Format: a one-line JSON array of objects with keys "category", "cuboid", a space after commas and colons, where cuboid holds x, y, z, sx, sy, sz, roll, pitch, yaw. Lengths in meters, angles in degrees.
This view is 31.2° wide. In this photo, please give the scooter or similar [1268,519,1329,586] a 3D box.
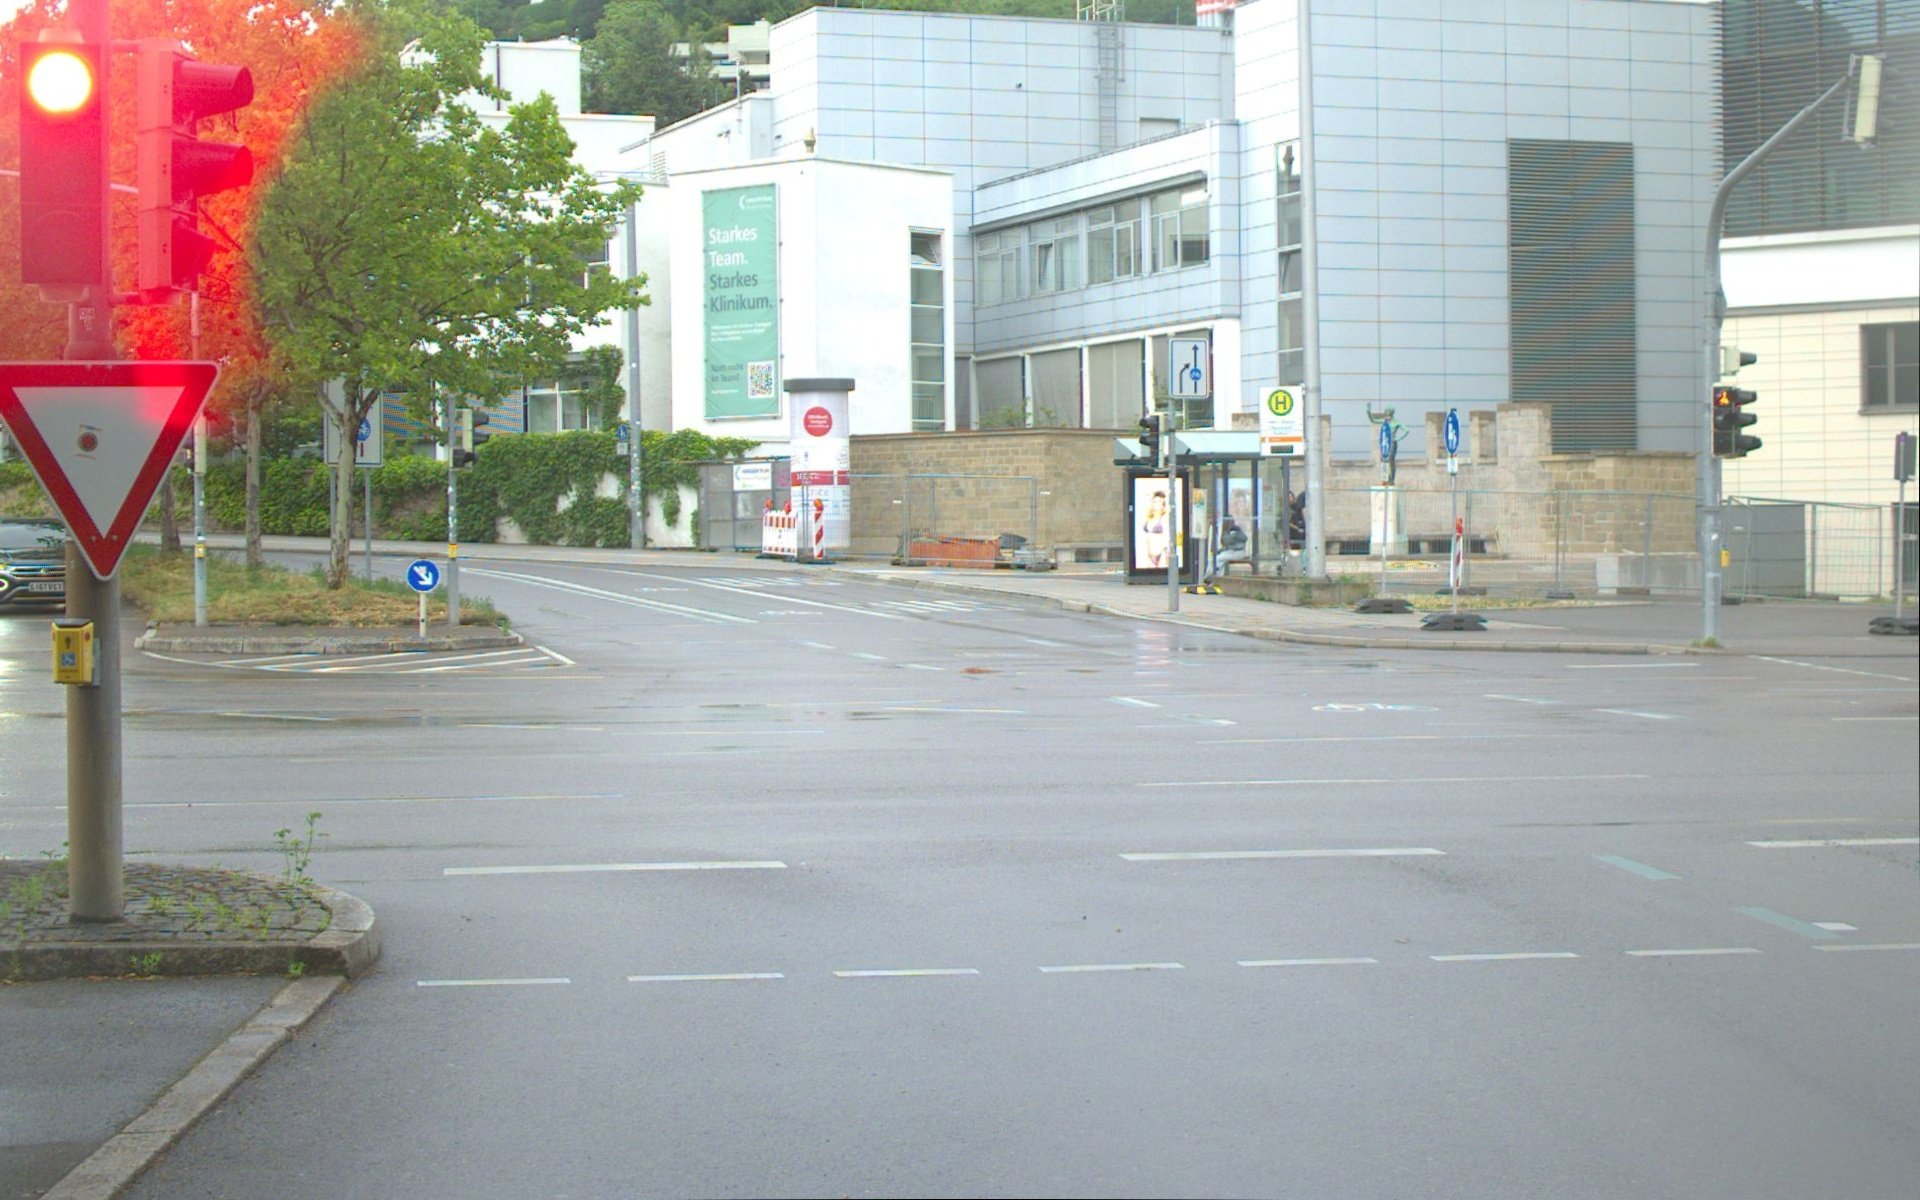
[{"category": "scooter or similar", "cuboid": [6.389, -0.900, 64.981, 0.591, 1.234, 1.314, 1, 0, -22]}]

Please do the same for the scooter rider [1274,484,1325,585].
[{"category": "scooter rider", "cuboid": [6.415, -1.228, 64.970, 0.723, 1.877, 0.632, 1, 0, -20]}]

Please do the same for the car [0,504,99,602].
[{"category": "car", "cuboid": [-15.668, -0.816, 57.716, 1.788, 1.579, 4.001, -1, 2, -22]}]

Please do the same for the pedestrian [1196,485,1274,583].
[{"category": "pedestrian", "cuboid": [4.918, -1.171, 61.541, 1.257, 1.713, 1.016, 1, 0, -2]}]
